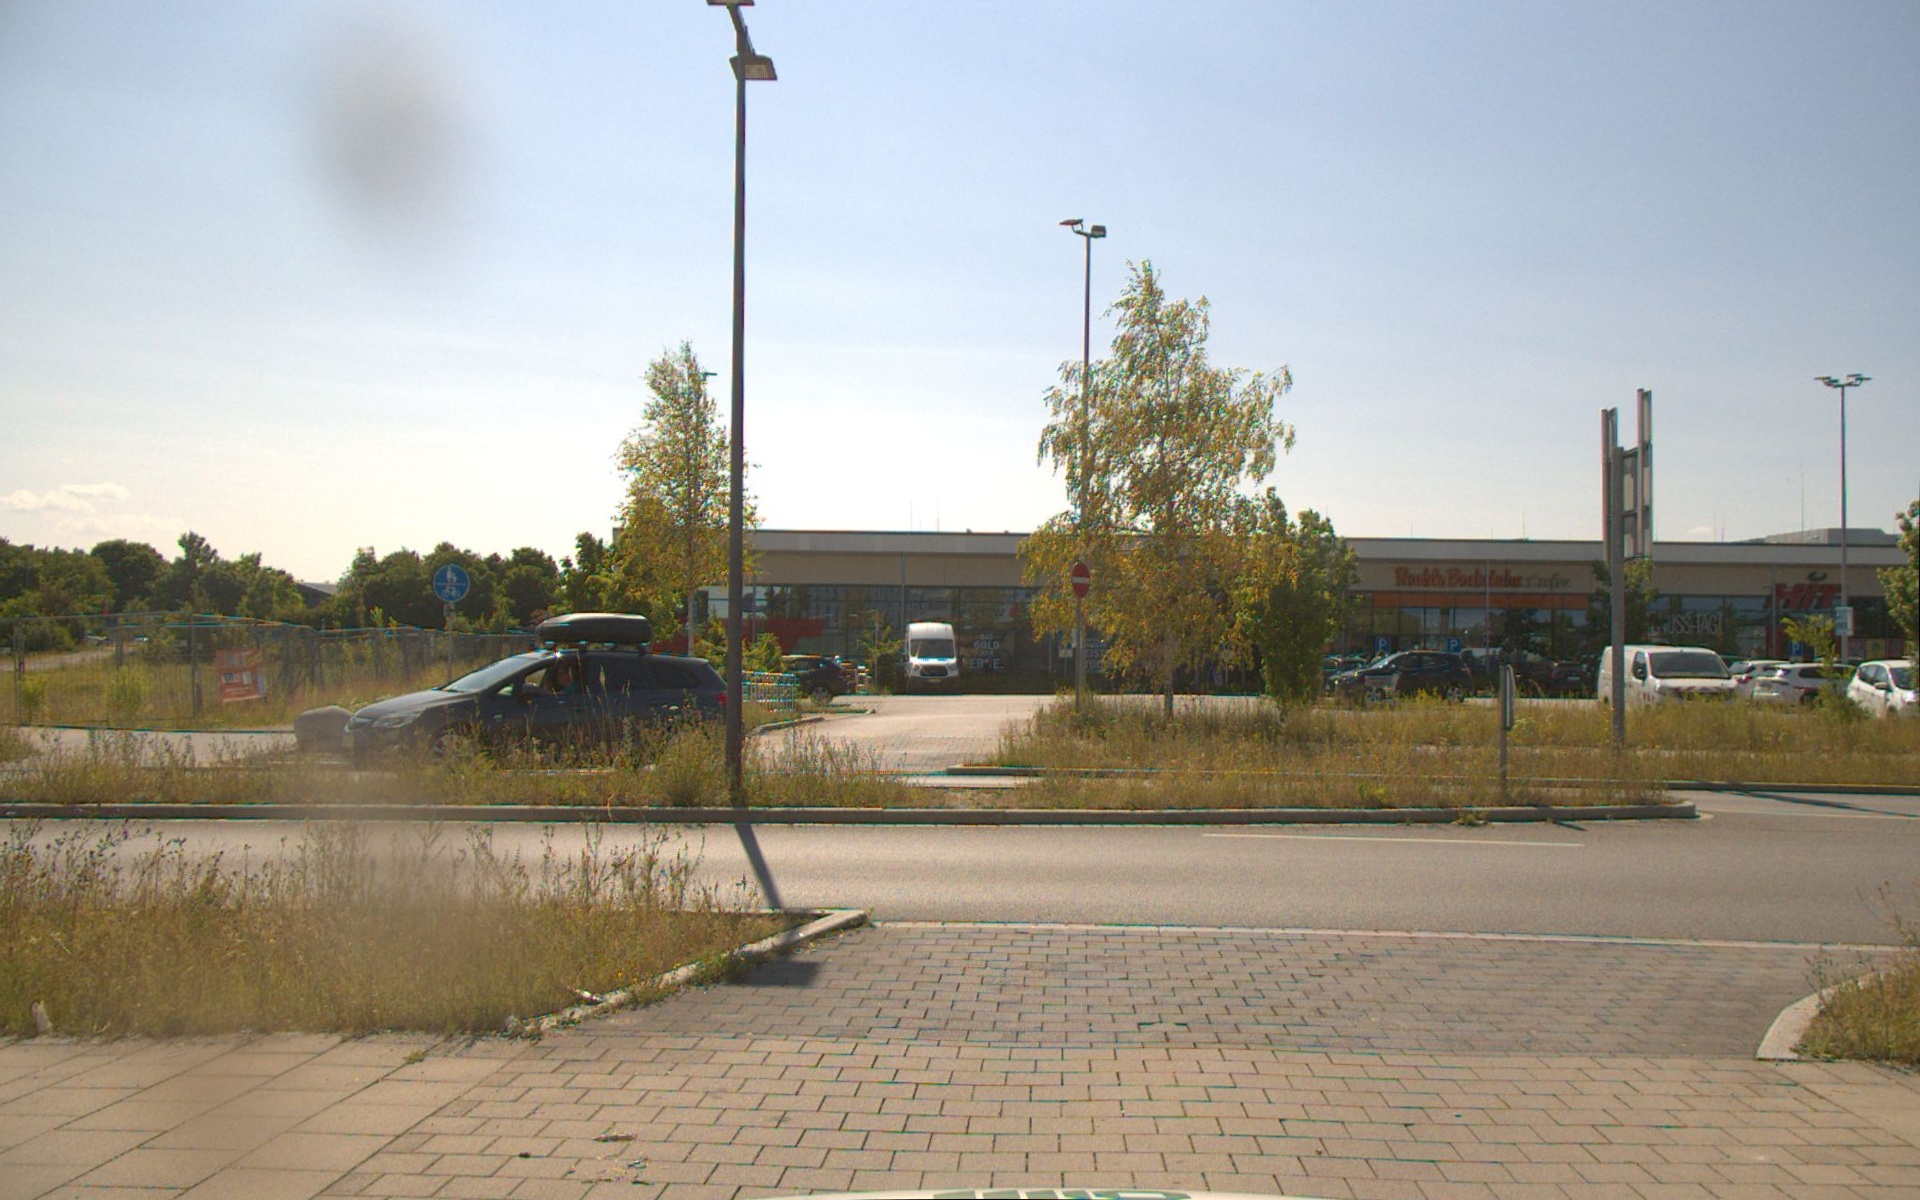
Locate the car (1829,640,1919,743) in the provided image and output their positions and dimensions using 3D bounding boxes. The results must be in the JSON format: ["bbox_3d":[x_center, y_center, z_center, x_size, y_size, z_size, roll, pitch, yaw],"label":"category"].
[{"bbox_3d":[20.576,1.919,35.554,2.111,2.049,5.119,0,-2,13],"label":"car"}]

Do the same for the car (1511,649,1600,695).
[{"bbox_3d":[23.284,2.794,64.811,1.953,1.737,3.998,0,-1,-2],"label":"car"}]

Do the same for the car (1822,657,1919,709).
[{"bbox_3d":[26.185,2.297,45.921,3.646,1.415,1.730,1,-2,-4],"label":"car"}]

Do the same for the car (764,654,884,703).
[{"bbox_3d":[-4.352,2.509,53.038,3.757,1.448,1.770,1,-2,-5],"label":"car"}]

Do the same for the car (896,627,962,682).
[{"bbox_3d":[-1.283,2.126,64.803,2.179,2.012,6.689,0,-2,-4],"label":"car"}]

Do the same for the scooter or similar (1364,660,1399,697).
[{"bbox_3d":[12.625,2.348,49.561,0.923,1.098,0.652,0,-2,4],"label":"scooter or similar"}]

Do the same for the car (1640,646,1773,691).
[{"bbox_3d":[24.559,2.253,54.477,3.646,1.415,1.730,1,-2,-4],"label":"car"}]

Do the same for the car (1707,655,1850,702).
[{"bbox_3d":[25.497,2.440,51.575,3.646,1.415,1.730,1,-2,-4],"label":"car"}]

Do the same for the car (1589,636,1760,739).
[{"bbox_3d":[15.510,1.847,36.229,2.036,2.049,5.232,0,-2,7],"label":"car"}]

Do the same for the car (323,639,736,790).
[{"bbox_3d":[-4.872,1.268,18.947,4.150,1.543,1.974,3,-3,-36],"label":"car"}]

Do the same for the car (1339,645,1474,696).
[{"bbox_3d":[13.798,2.172,51.246,3.716,1.535,1.731,0,-2,-1],"label":"car"}]

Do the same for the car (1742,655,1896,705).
[{"bbox_3d":[25.174,2.338,48.545,3.646,1.415,1.730,1,-2,-4],"label":"car"}]

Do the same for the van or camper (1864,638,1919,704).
[{"bbox_3d":[31.494,2.247,52.099,4.931,2.049,2.000,1,-2,1],"label":"van or camper"}]
